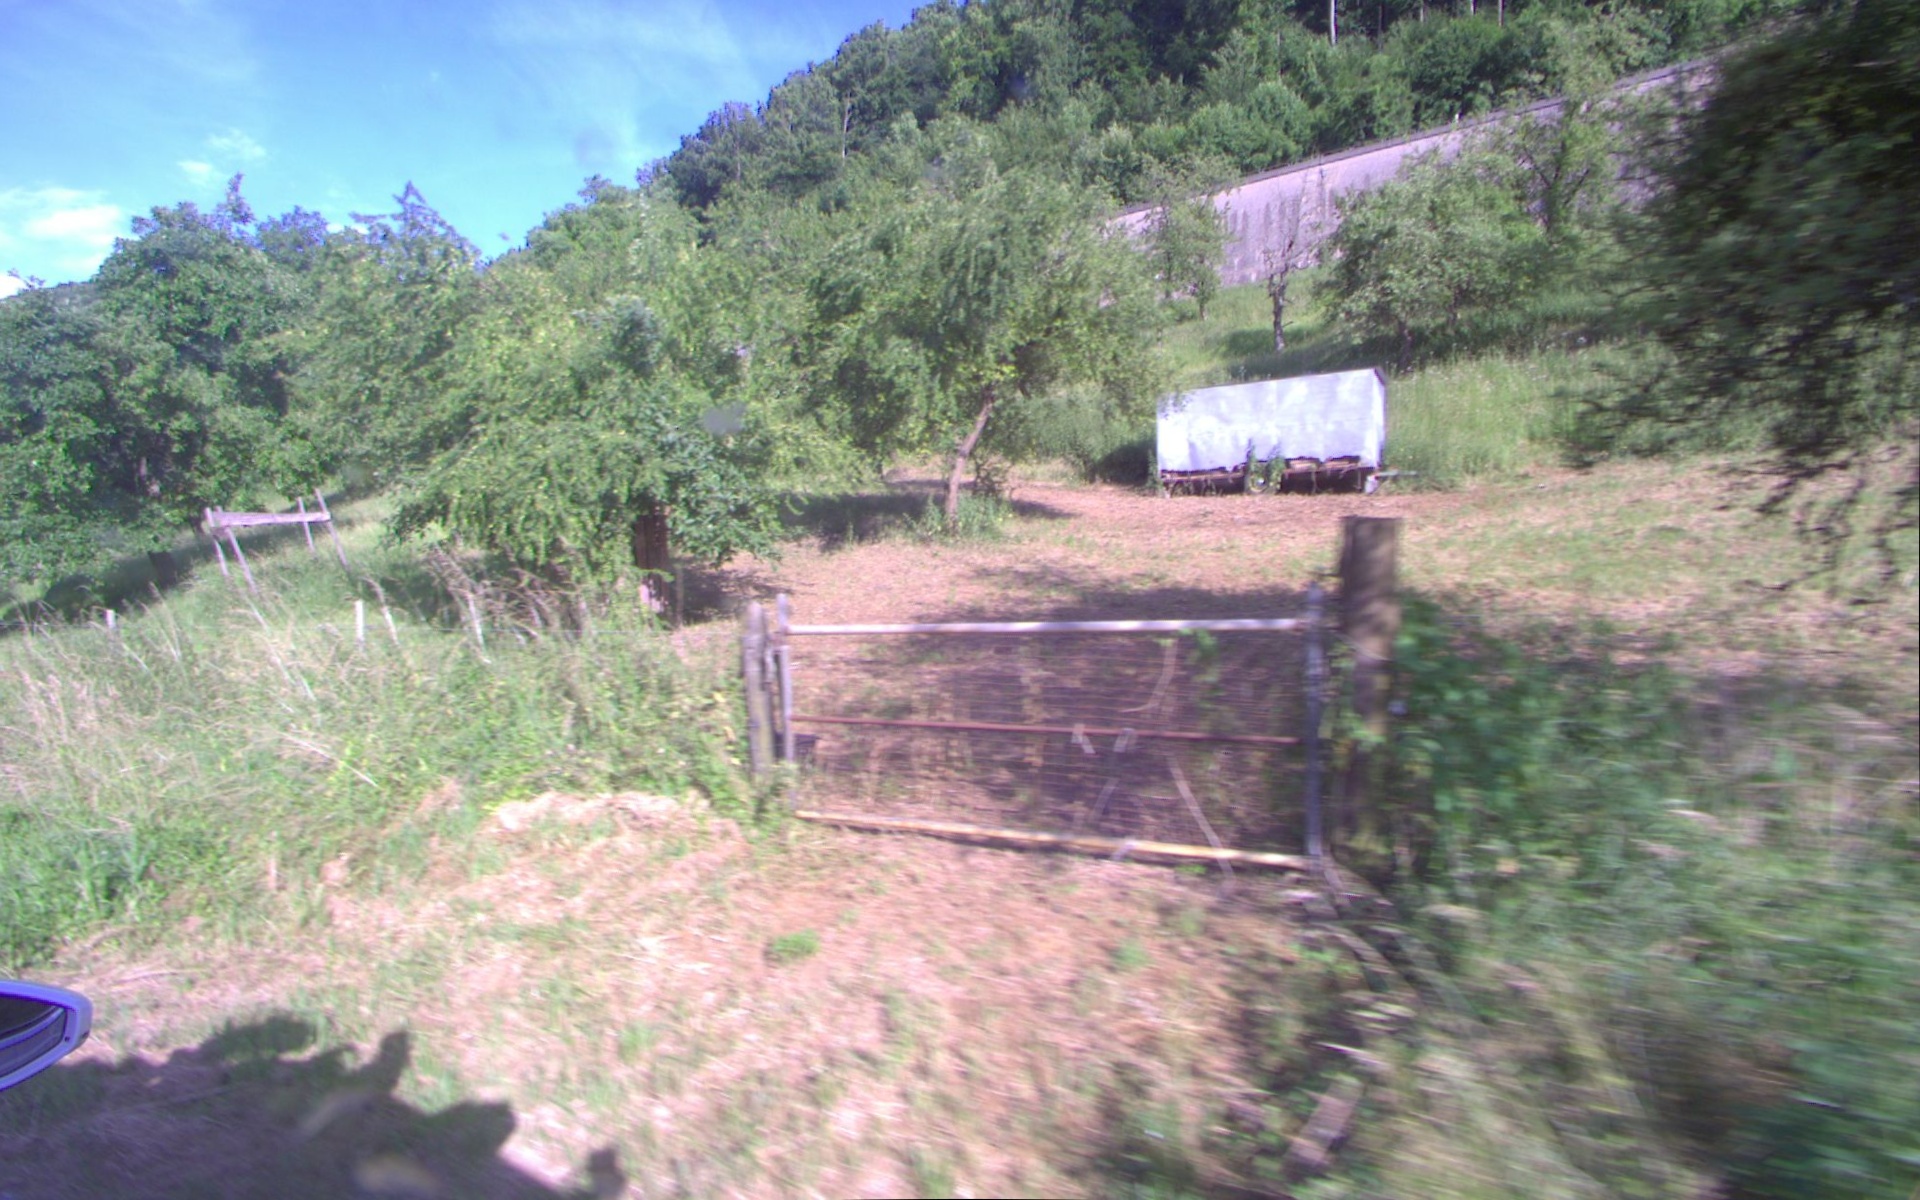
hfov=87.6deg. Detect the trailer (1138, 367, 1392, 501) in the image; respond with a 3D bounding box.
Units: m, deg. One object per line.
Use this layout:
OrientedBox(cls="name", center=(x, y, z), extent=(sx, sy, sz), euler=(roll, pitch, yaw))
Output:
OrientedBox(cls="trailer", center=(6.923, -3.635, 22.854), extent=(5.164, 2.595, 2.149), euler=(3, 4, 29))
